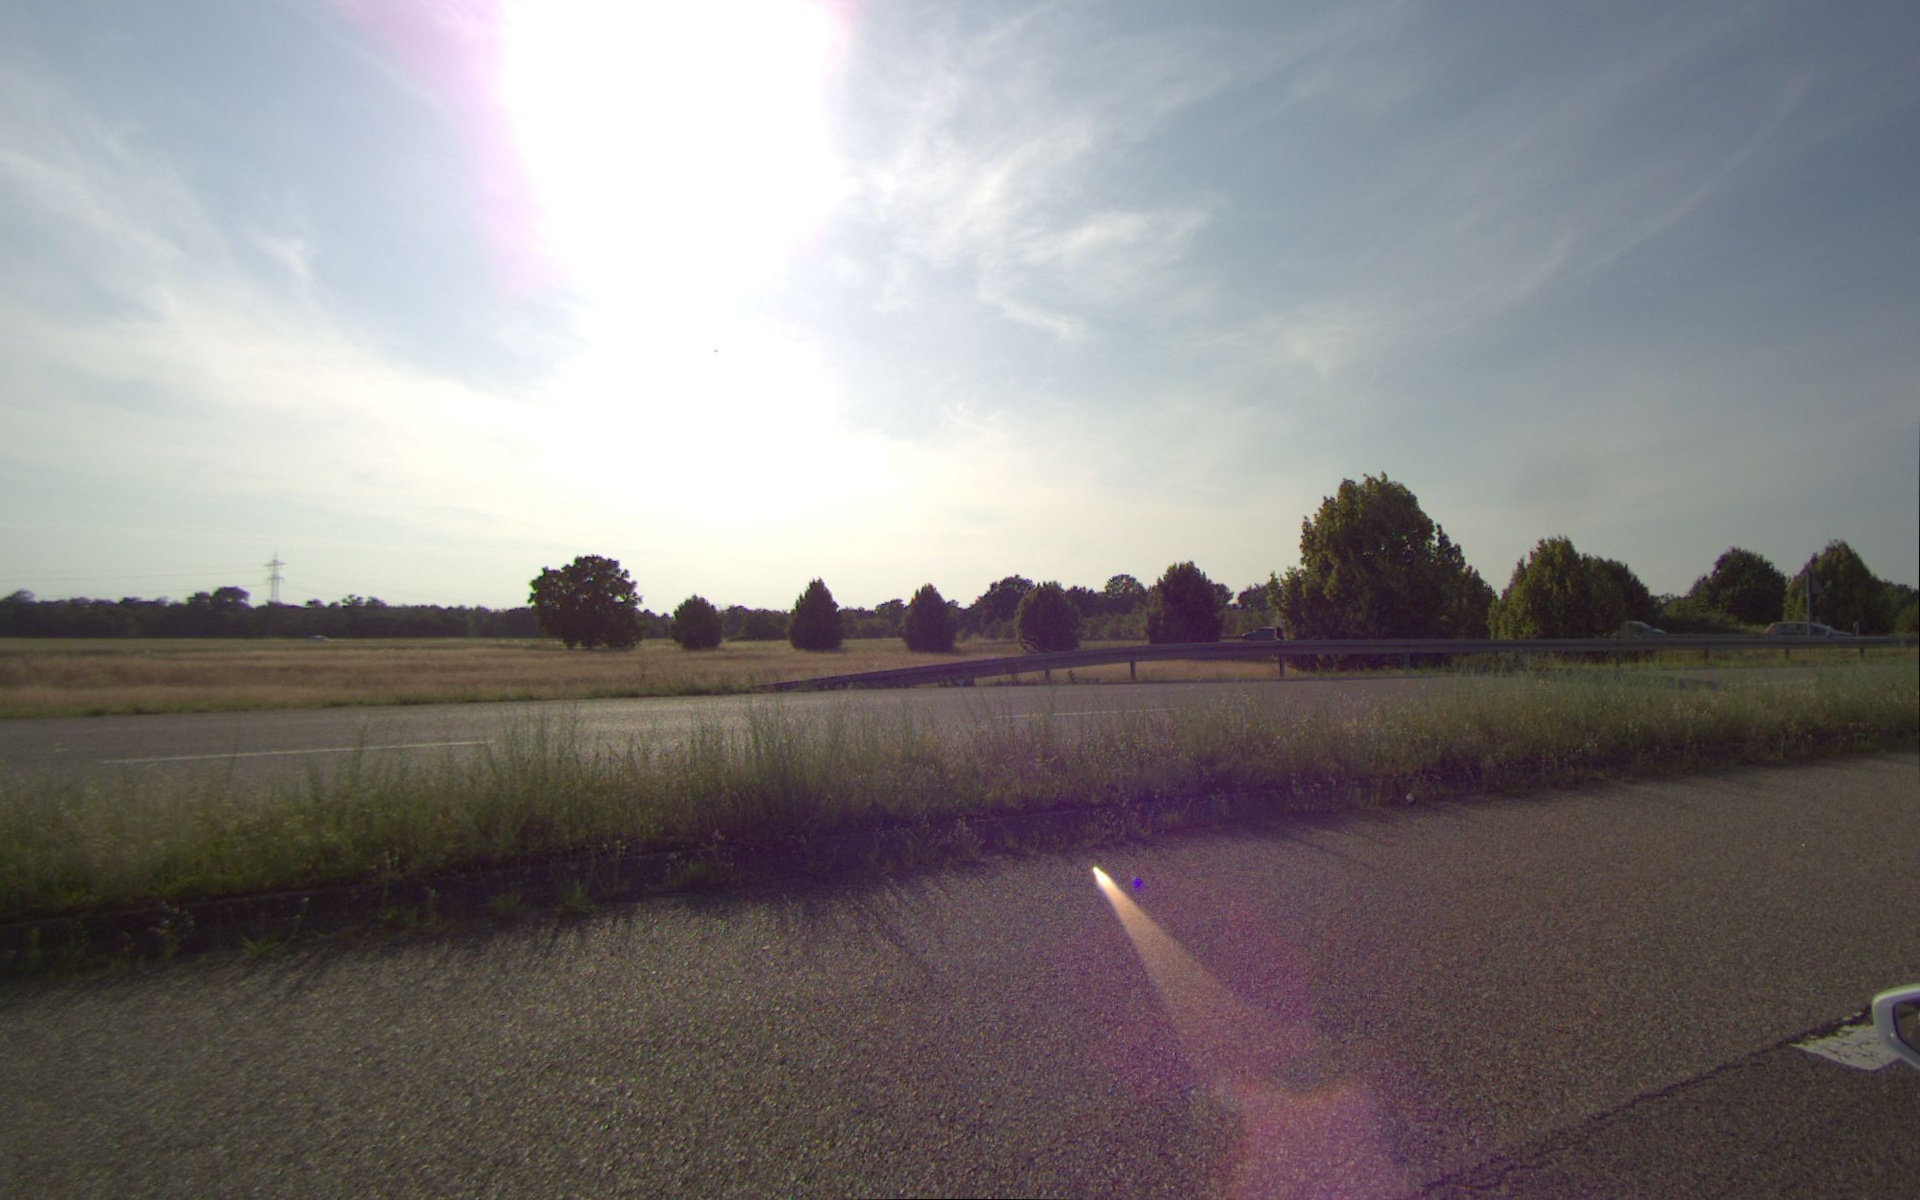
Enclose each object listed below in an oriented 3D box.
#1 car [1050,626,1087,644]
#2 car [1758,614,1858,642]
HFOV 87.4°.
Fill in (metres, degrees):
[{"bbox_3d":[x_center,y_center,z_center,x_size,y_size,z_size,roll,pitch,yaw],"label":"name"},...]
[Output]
[{"bbox_3d":[13.128,4.230,121.855,3.936,2.040,1.992,2,0,38],"label":"car"},{"bbox_3d":[52.596,1.696,62.398,1.787,1.586,4.513,1,0,-18],"label":"car"}]
